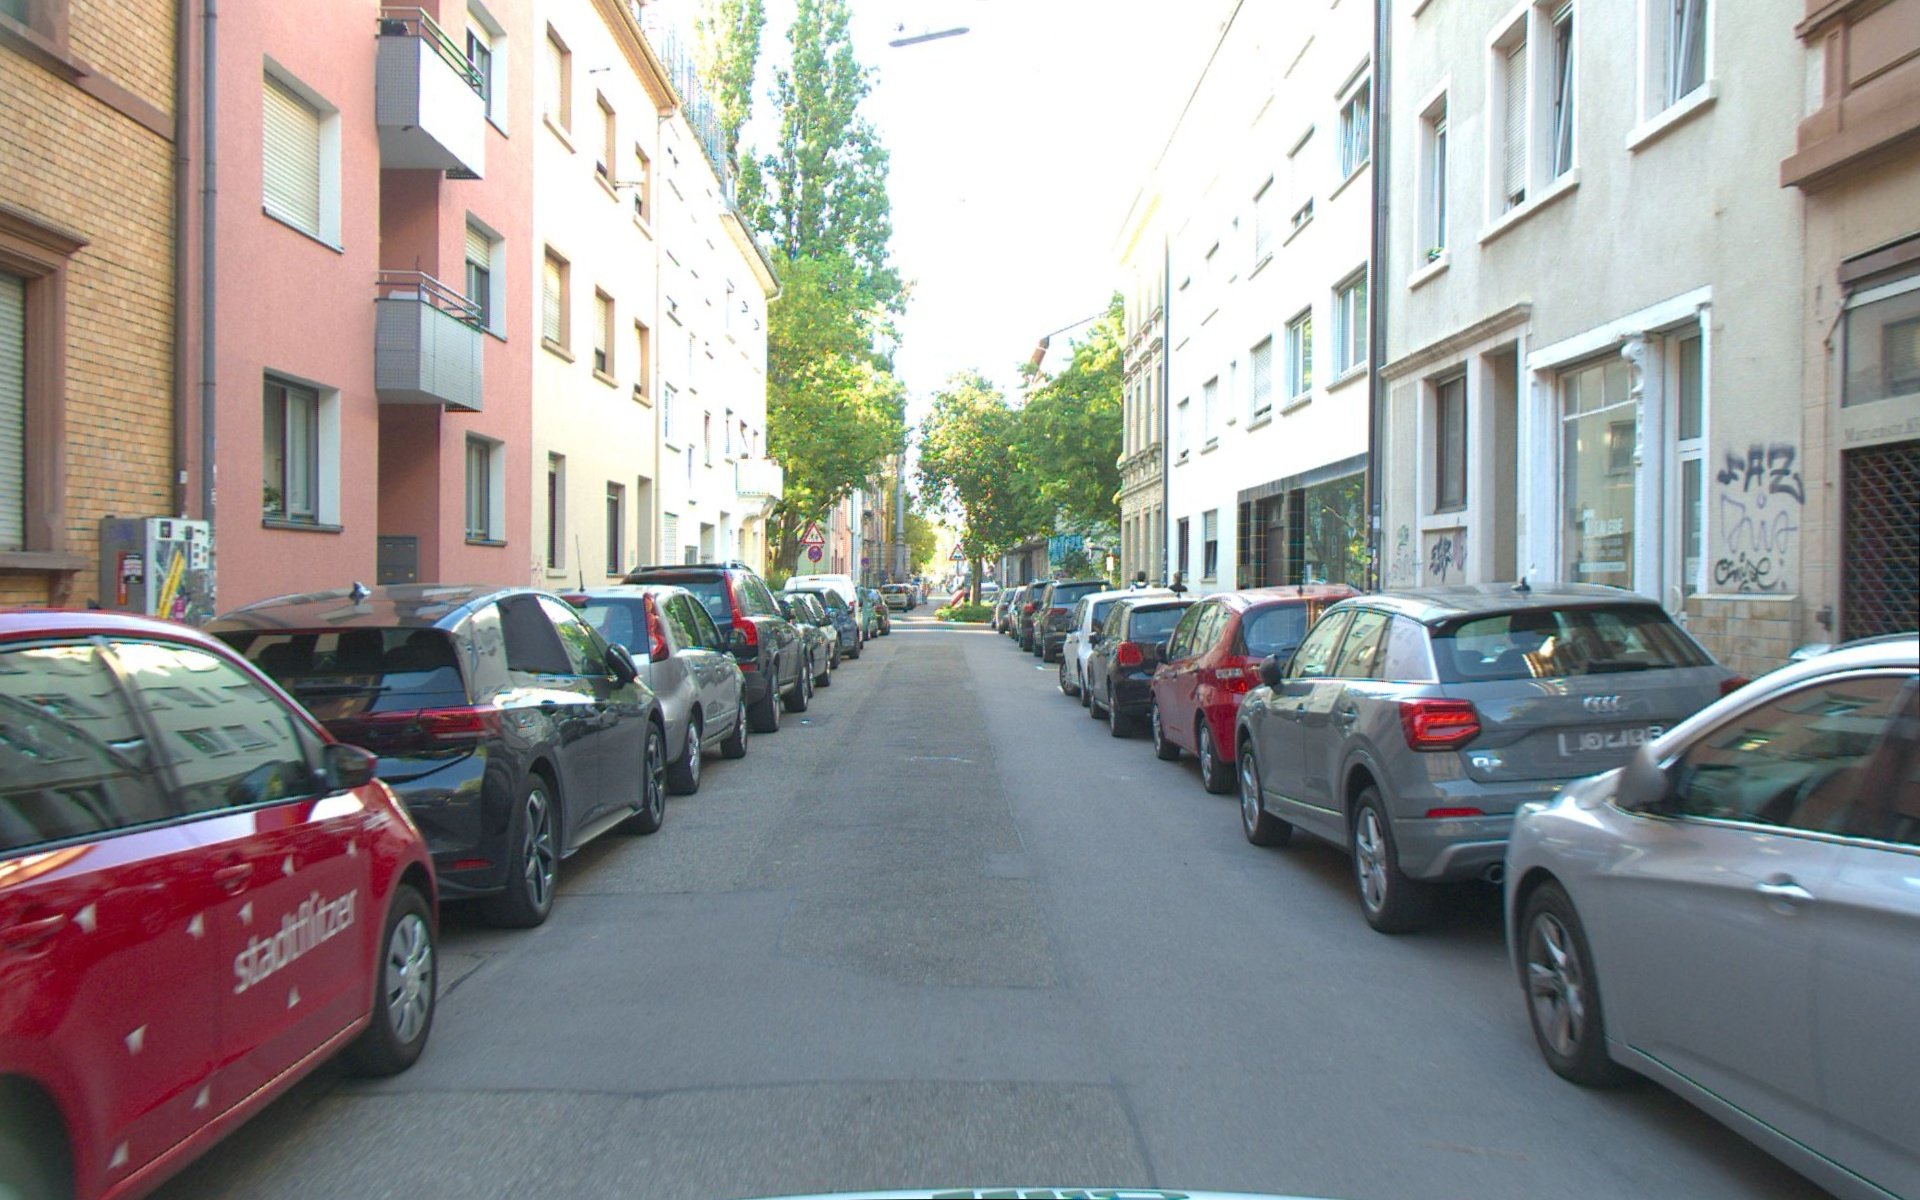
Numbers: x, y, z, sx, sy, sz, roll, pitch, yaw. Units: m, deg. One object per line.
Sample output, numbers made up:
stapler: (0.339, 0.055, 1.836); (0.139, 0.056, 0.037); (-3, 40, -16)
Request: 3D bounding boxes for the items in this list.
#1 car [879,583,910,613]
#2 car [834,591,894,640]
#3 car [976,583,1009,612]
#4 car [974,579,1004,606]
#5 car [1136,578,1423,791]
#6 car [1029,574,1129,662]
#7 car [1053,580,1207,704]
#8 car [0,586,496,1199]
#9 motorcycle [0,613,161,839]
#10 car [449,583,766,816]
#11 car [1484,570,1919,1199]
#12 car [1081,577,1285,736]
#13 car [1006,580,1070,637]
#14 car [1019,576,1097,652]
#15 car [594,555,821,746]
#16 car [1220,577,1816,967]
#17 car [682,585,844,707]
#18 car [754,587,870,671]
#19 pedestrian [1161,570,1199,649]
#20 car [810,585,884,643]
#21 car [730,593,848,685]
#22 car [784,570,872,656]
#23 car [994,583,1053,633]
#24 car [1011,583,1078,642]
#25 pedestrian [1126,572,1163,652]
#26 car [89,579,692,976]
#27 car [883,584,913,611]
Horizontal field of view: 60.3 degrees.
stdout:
car: (-3.633, -0.125, 92.300); (1.642, 1.512, 4.094); (-2, 1, -1)
car: (-2.937, 0.454, 51.379); (1.636, 1.384, 4.048); (-2, 1, -1)
car: (1.827, -0.150, 93.842); (1.642, 1.512, 3.637); (-2, 1, -1)
car: (1.748, -0.484, 100.250); (1.642, 1.512, 3.637); (-2, 1, -1)
car: (2.616, 0.603, 14.461); (1.566, 1.533, 4.183); (-2, 1, -1)
car: (2.494, 0.339, 35.518); (1.642, 1.655, 4.249); (-4, 1, -1)
car: (2.322, 0.523, 23.442); (1.642, 1.533, 3.937); (-2, 1, -1)
car: (-2.431, 0.759, 4.017); (1.595, 1.507, 3.600); (-2, 1, -1)
motorcycle: (-5.614, 0.712, 10.112); (0.522, 1.227, 1.908); (0, 1, 0)
car: (-2.703, 0.679, 13.571); (1.622, 1.547, 3.945); (-2, 1, 1)
car: (2.805, 0.717, 3.684); (1.709, 1.533, 4.356); (-2, 1, -2)
car: (2.391, 0.540, 18.650); (1.642, 1.533, 3.937); (-2, 1, -1)
car: (2.315, 0.224, 49.936); (1.642, 1.588, 3.795); (-2, 1, -1)
car: (2.344, 0.325, 40.468); (1.641, 1.711, 4.095); (-2, 0, 0)
car: (-2.719, 0.472, 18.869); (1.707, 1.842, 4.673); (-2, 1, 1)
car: (2.619, 0.679, 8.821); (1.708, 1.533, 4.020); (-2, 1, -1)
car: (-2.786, 0.594, 24.277); (1.707, 1.533, 4.347); (-2, 1, 1)
car: (-2.951, 0.540, 33.732); (1.638, 1.512, 3.994); (-2, 1, 5)
pedestrian: (4.755, 0.200, 35.763); (0.671, 1.689, 0.717); (-1, 0, -1)
car: (-3.166, 0.364, 47.103); (1.635, 1.495, 3.822); (-2, 1, 2)
car: (-2.955, 0.633, 29.304); (1.639, 1.412, 4.181); (-2, 1, -1)
car: (-3.002, 0.249, 38.362); (1.729, 1.816, 4.038); (-2, 1, -1)
car: (2.072, 0.229, 54.838); (1.642, 1.512, 4.094); (-2, 1, -1)
car: (2.293, 0.311, 45.723); (1.535, 1.508, 3.618); (-2, 1, -1)
pedestrian: (3.973, 0.248, 35.707); (0.671, 1.689, 0.717); (-1, 0, -1)
car: (-2.662, 0.703, 8.811); (1.660, 1.547, 4.097); (-2, 1, 1)
car: (-3.643, -0.161, 97.816); (1.642, 1.512, 4.094); (-2, 1, -1)
